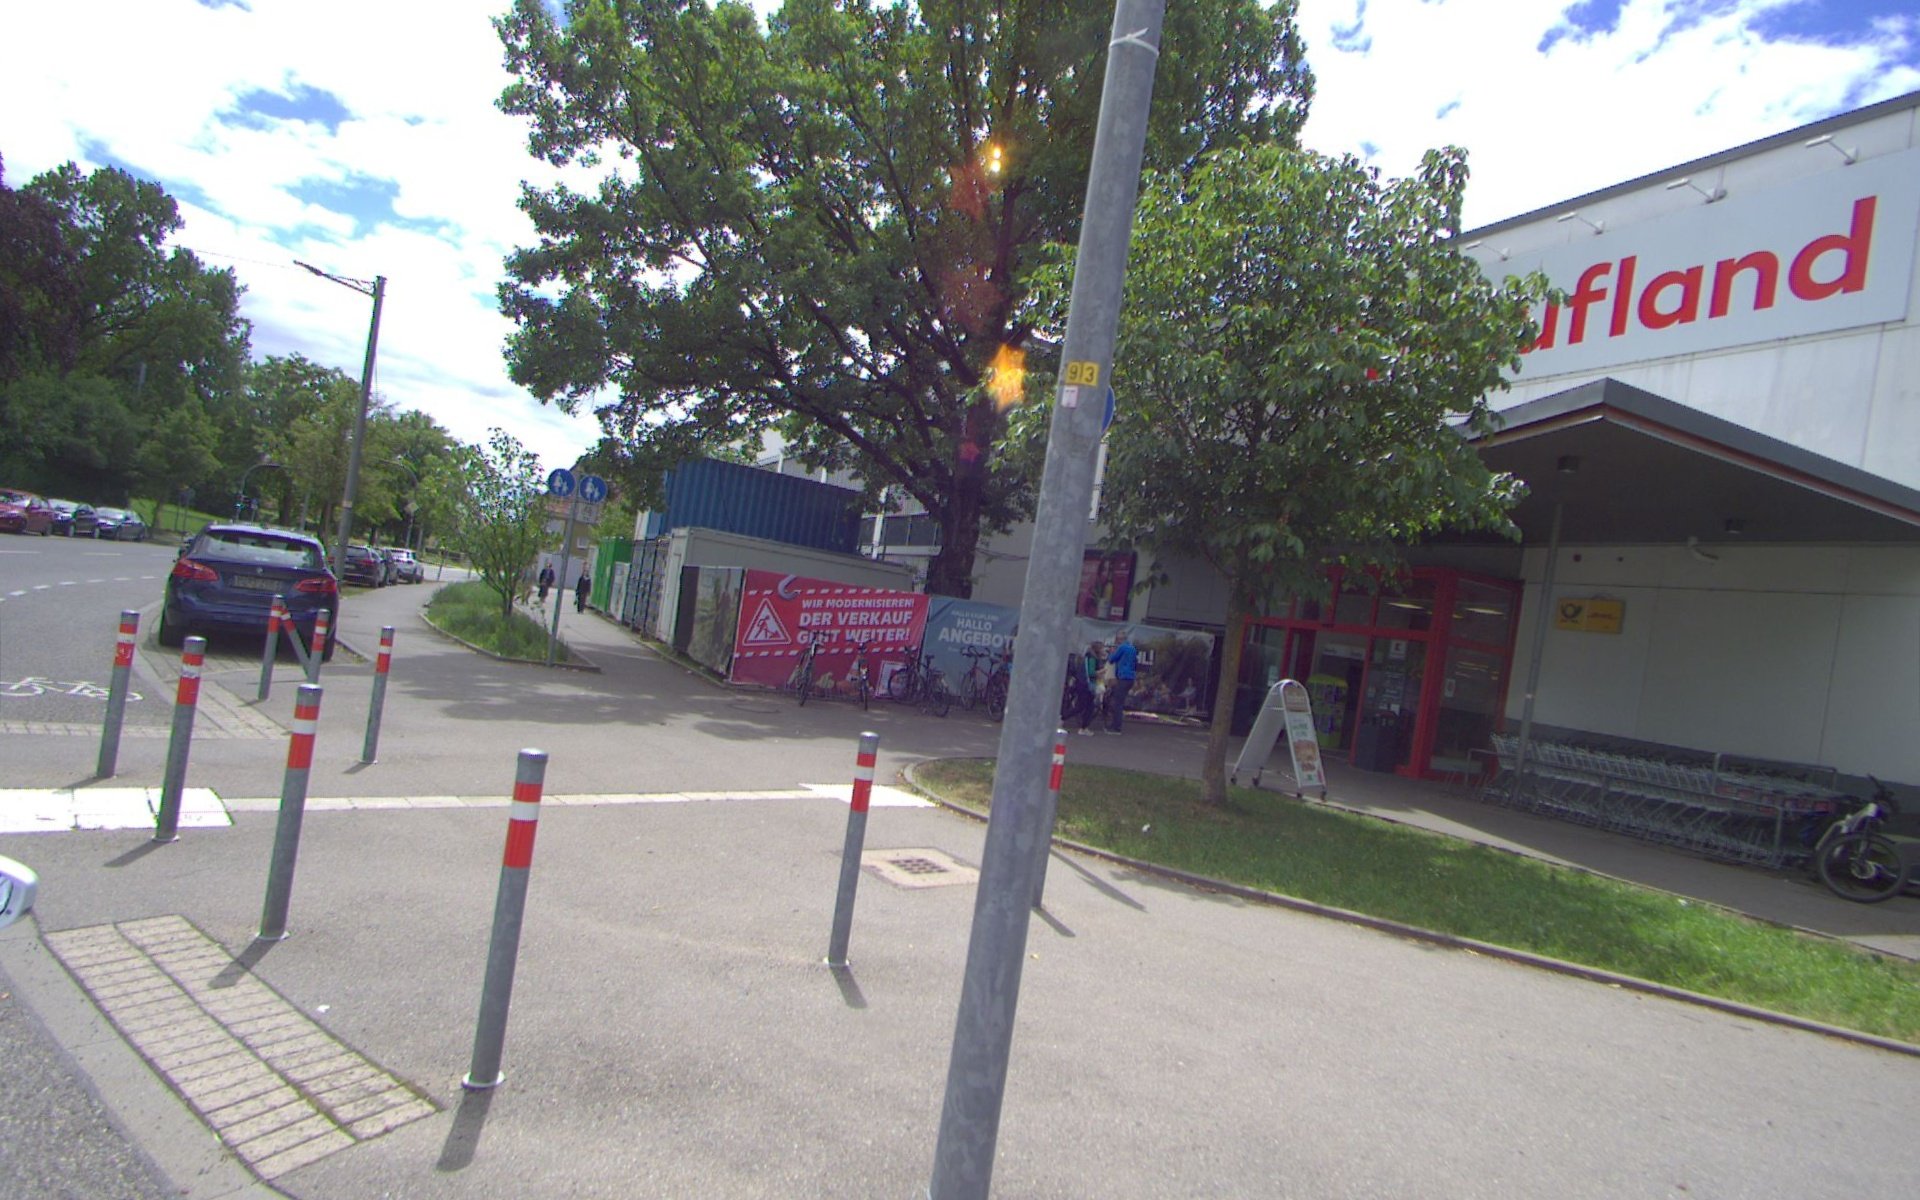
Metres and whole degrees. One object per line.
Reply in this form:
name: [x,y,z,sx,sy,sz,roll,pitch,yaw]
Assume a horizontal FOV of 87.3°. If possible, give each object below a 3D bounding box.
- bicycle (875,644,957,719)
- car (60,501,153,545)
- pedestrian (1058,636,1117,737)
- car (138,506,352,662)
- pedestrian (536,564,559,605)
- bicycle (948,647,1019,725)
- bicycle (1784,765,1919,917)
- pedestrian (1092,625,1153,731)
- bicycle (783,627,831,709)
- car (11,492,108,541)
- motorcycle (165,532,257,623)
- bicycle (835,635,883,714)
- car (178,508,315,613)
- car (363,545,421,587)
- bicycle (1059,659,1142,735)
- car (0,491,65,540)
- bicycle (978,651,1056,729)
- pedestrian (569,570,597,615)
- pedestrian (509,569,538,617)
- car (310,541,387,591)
bicycle: [-0.793,1.392,17.473,0.516,1.053,1.786,8,-1,-31]
car: [-37.619,-3.362,44.473,1.681,1.380,4.661,11,-3,-24]
pedestrian: [2.145,1.451,16.902,0.619,1.585,0.492,8,-1,-24]
car: [-9.634,-0.262,13.608,1.907,1.597,4.386,8,-1,-36]
pedestrian: [-18.227,-0.671,44.443,0.646,1.716,0.839,9,-1,-26]
bicycle: [0.384,1.493,17.764,0.421,1.168,1.652,9,-2,-24]
bicycle: [9.200,2.411,10.350,0.703,1.247,1.772,8,-2,30]
pedestrian: [2.885,1.380,17.928,0.616,1.778,0.745,6,0,-21]
bicycle: [-2.507,1.072,16.346,0.444,1.168,1.787,9,-2,-14]
car: [-36.119,-3.300,40.452,1.581,1.466,3.578,10,-3,-22]
motorcycle: [-12.496,-0.402,16.852,1.065,1.321,2.239,6,0,-35]
bicycle: [-1.724,1.219,16.922,0.493,1.168,1.770,9,-2,-10]
car: [-14.180,-0.804,20.207,1.867,1.641,4.804,8,-1,-33]
car: [-26.177,-1.556,46.504,1.720,1.636,4.364,7,-1,-23]
bicycle: [2.619,1.799,18.958,0.523,1.168,1.904,9,-2,-21]
car: [-34.098,-3.083,36.055,1.636,1.466,4.082,11,-3,-24]
bicycle: [0.995,1.581,18.027,0.435,1.168,1.757,9,-2,-26]
pedestrian: [-14.562,-0.295,38.853,0.736,1.636,0.763,9,-1,-26]
pedestrian: [-16.683,-0.279,38.430,0.647,1.715,0.718,9,-1,-34]
car: [-22.200,-1.230,36.687,1.748,1.495,4.906,6,-1,-25]
